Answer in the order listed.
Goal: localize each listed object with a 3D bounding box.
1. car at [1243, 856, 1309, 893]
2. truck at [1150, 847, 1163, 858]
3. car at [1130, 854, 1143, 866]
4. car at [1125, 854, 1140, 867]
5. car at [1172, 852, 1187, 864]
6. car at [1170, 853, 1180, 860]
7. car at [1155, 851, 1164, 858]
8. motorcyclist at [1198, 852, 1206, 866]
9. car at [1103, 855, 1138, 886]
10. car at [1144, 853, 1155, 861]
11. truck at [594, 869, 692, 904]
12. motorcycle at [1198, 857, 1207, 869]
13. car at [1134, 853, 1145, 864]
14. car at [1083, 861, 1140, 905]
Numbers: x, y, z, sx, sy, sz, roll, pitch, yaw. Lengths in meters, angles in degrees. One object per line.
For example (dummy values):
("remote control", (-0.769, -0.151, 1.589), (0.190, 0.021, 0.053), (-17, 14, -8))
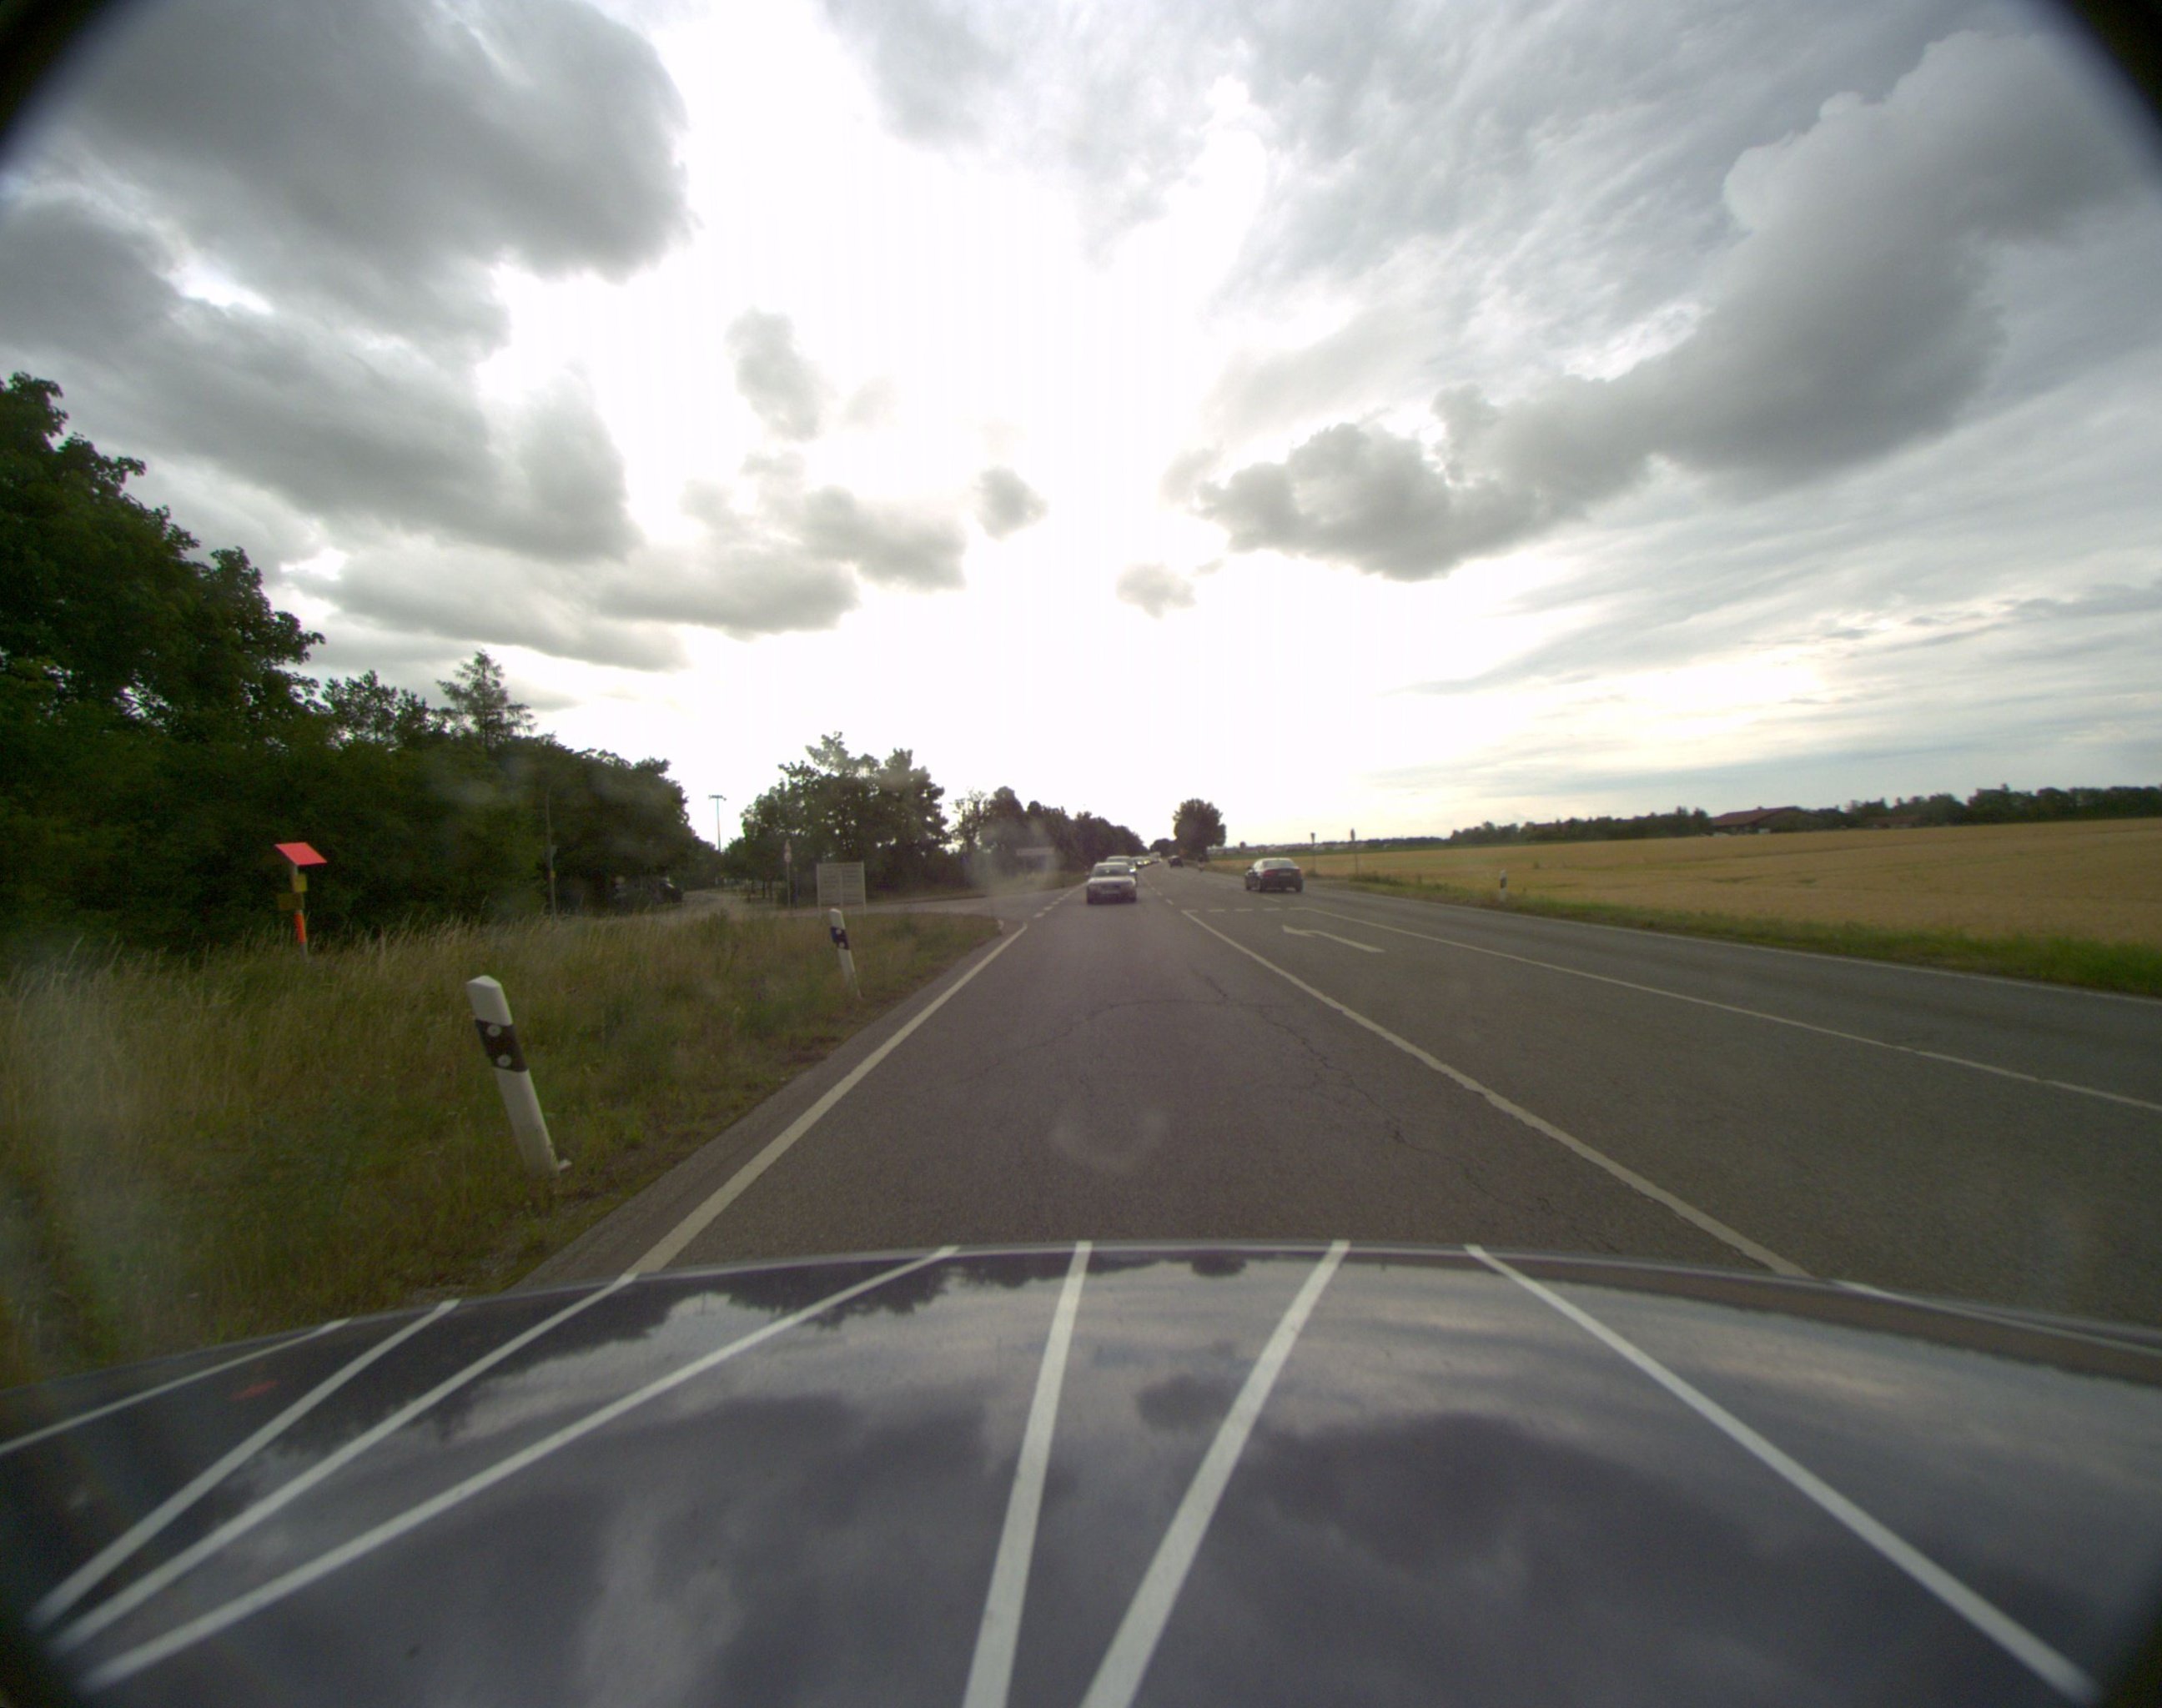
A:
("car", (8.251, 0.814, 32.465), (1.831, 1.402, 4.425), (-2, 0, 3))
("truck", (20.555, -0.438, 206.829), (2.318, 2.749, 7.679), (-2, 0, 12))
("car", (8.022, 0.821, 109.494), (1.793, 1.573, 4.188), (-2, 0, 5))
("car", (6.565, 0.816, 96.887), (1.793, 1.573, 4.369), (-2, 0, 5))
("car", (14.527, 0.526, 112.065), (1.951, 1.684, 4.447), (-2, 1, 5))
("car", (22.028, 0.581, 177.339), (1.997, 1.501, 4.003), (-1, 0, 11))
("car", (19.451, 0.145, 188.011), (1.792, 1.530, 4.140), (-2, 0, 11))
("motorcyclist", (12.324, 0.475, 77.258), (0.641, 1.376, 0.809), (-2, 1, 4))
("car", (2.223, 0.895, 42.935), (1.793, 1.573, 4.368), (-2, 0, 3))
("car", (13.505, 0.534, 149.375), (1.792, 1.573, 4.140), (-2, 0, 9))
("truck", (-45.010, 3.238, 78.423), (8.382, 3.092, 3.067), (-2, 0, -24))
("motorcycle", (12.338, 0.898, 77.271), (0.727, 1.142, 2.025), (-2, 0, 4))
("car", (9.497, 0.701, 123.051), (1.793, 1.573, 4.188), (-2, 0, 5))
("car", (1.224, 1.003, 28.154), (1.793, 1.415, 4.369), (-2, 0, 6))
